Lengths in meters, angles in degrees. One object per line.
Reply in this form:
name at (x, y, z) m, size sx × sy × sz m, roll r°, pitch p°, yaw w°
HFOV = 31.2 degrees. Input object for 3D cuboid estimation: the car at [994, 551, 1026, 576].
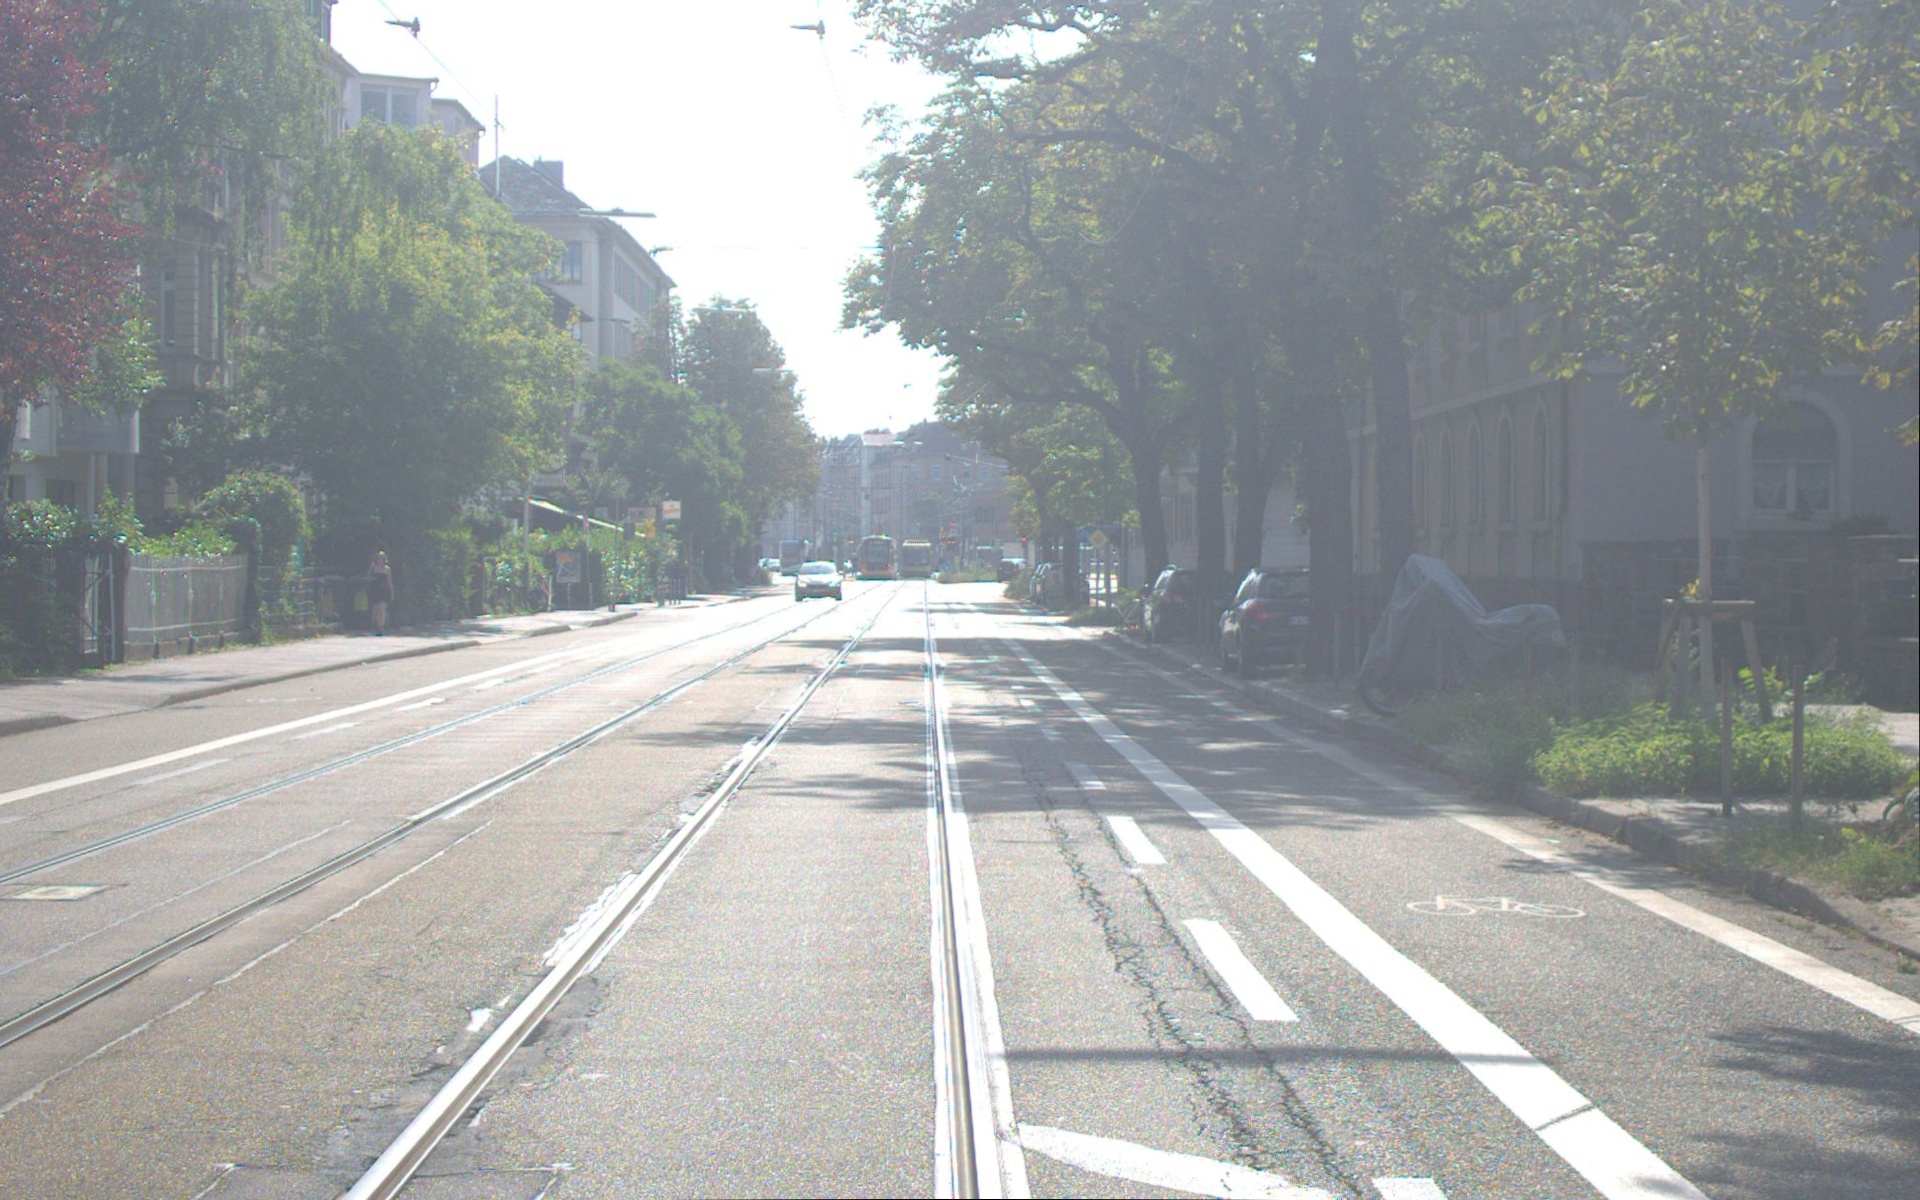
car at (3.626, -2.649, 248.752) m, size 1.994 × 1.777 × 4.000 m, roll 2°, pitch 1°, yaw 4°

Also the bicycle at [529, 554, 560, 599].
bicycle at (-11.565, -0.665, 95.820) m, size 0.561 × 1.217 × 2.113 m, roll 0°, pitch 1°, yaw 1°

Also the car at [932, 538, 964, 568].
car at (-0.826, -3.275, 240.987) m, size 1.994 × 2.007 × 4.000 m, roll 2°, pitch 1°, yaw 3°

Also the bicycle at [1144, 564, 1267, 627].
bicycle at (4.358, -0.086, 61.106) m, size 2.106 × 1.101 × 0.563 m, roll 0°, pitch 1°, yaw -7°

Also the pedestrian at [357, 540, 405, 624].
pedestrian at (-11.016, -0.353, 65.441) m, size 0.752 × 1.586 × 0.878 m, roll 0°, pitch 1°, yaw 0°

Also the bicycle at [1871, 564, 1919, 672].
bicycle at (10.105, 0.180, 36.118) m, size 0.424 × 1.100 × 2.000 m, roll 0°, pitch 1°, yaw -3°

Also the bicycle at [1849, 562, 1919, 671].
bicycle at (9.872, 0.159, 36.146) m, size 0.424 × 1.100 × 2.000 m, roll 0°, pitch 1°, yaw -3°

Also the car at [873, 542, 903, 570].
car at (-5.420, -3.295, 259.270) m, size 1.994 × 2.007 × 4.000 m, roll 2°, pitch 1°, yaw 2°

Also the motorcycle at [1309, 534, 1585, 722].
motorcycle at (4.501, 0.251, 31.922) m, size 2.418 × 1.668 × 0.911 m, roll 0°, pitch 2°, yaw 44°

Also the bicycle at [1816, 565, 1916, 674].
bicycle at (9.518, 0.190, 36.168) m, size 0.423 × 1.100 × 2.000 m, roll 0°, pitch 1°, yaw -3°

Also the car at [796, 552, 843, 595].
car at (-5.540, -1.056, 135.660) m, size 1.726 × 1.632 × 3.985 m, roll 0°, pitch 1°, yaw -1°

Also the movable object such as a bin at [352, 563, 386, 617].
movable object such as a bin at (-11.892, -0.202, 69.156) m, size 0.631 × 1.074 × 0.705 m, roll 0°, pitch 1°, yaw -7°

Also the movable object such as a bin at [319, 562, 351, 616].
movable object such as a bin at (-12.561, -0.223, 69.082) m, size 0.589 × 1.074 × 0.705 m, roll 0°, pitch 1°, yaw -7°

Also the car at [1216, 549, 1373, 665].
car at (4.601, 0.074, 47.753) m, size 1.726 × 1.499 × 3.985 m, roll -1°, pitch 1°, yaw -1°

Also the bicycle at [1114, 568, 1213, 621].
bicycle at (4.450, -0.129, 75.258) m, size 2.106 × 1.101 × 0.616 m, roll -1°, pitch 1°, yaw -1°

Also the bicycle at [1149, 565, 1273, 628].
bicycle at (4.422, -0.065, 60.582) m, size 2.106 × 1.101 × 0.563 m, roll 0°, pitch 1°, yaw -7°

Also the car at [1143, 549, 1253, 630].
car at (4.447, -0.191, 64.778) m, size 1.772 × 1.468 × 3.974 m, roll 0°, pitch 0°, yaw 0°
